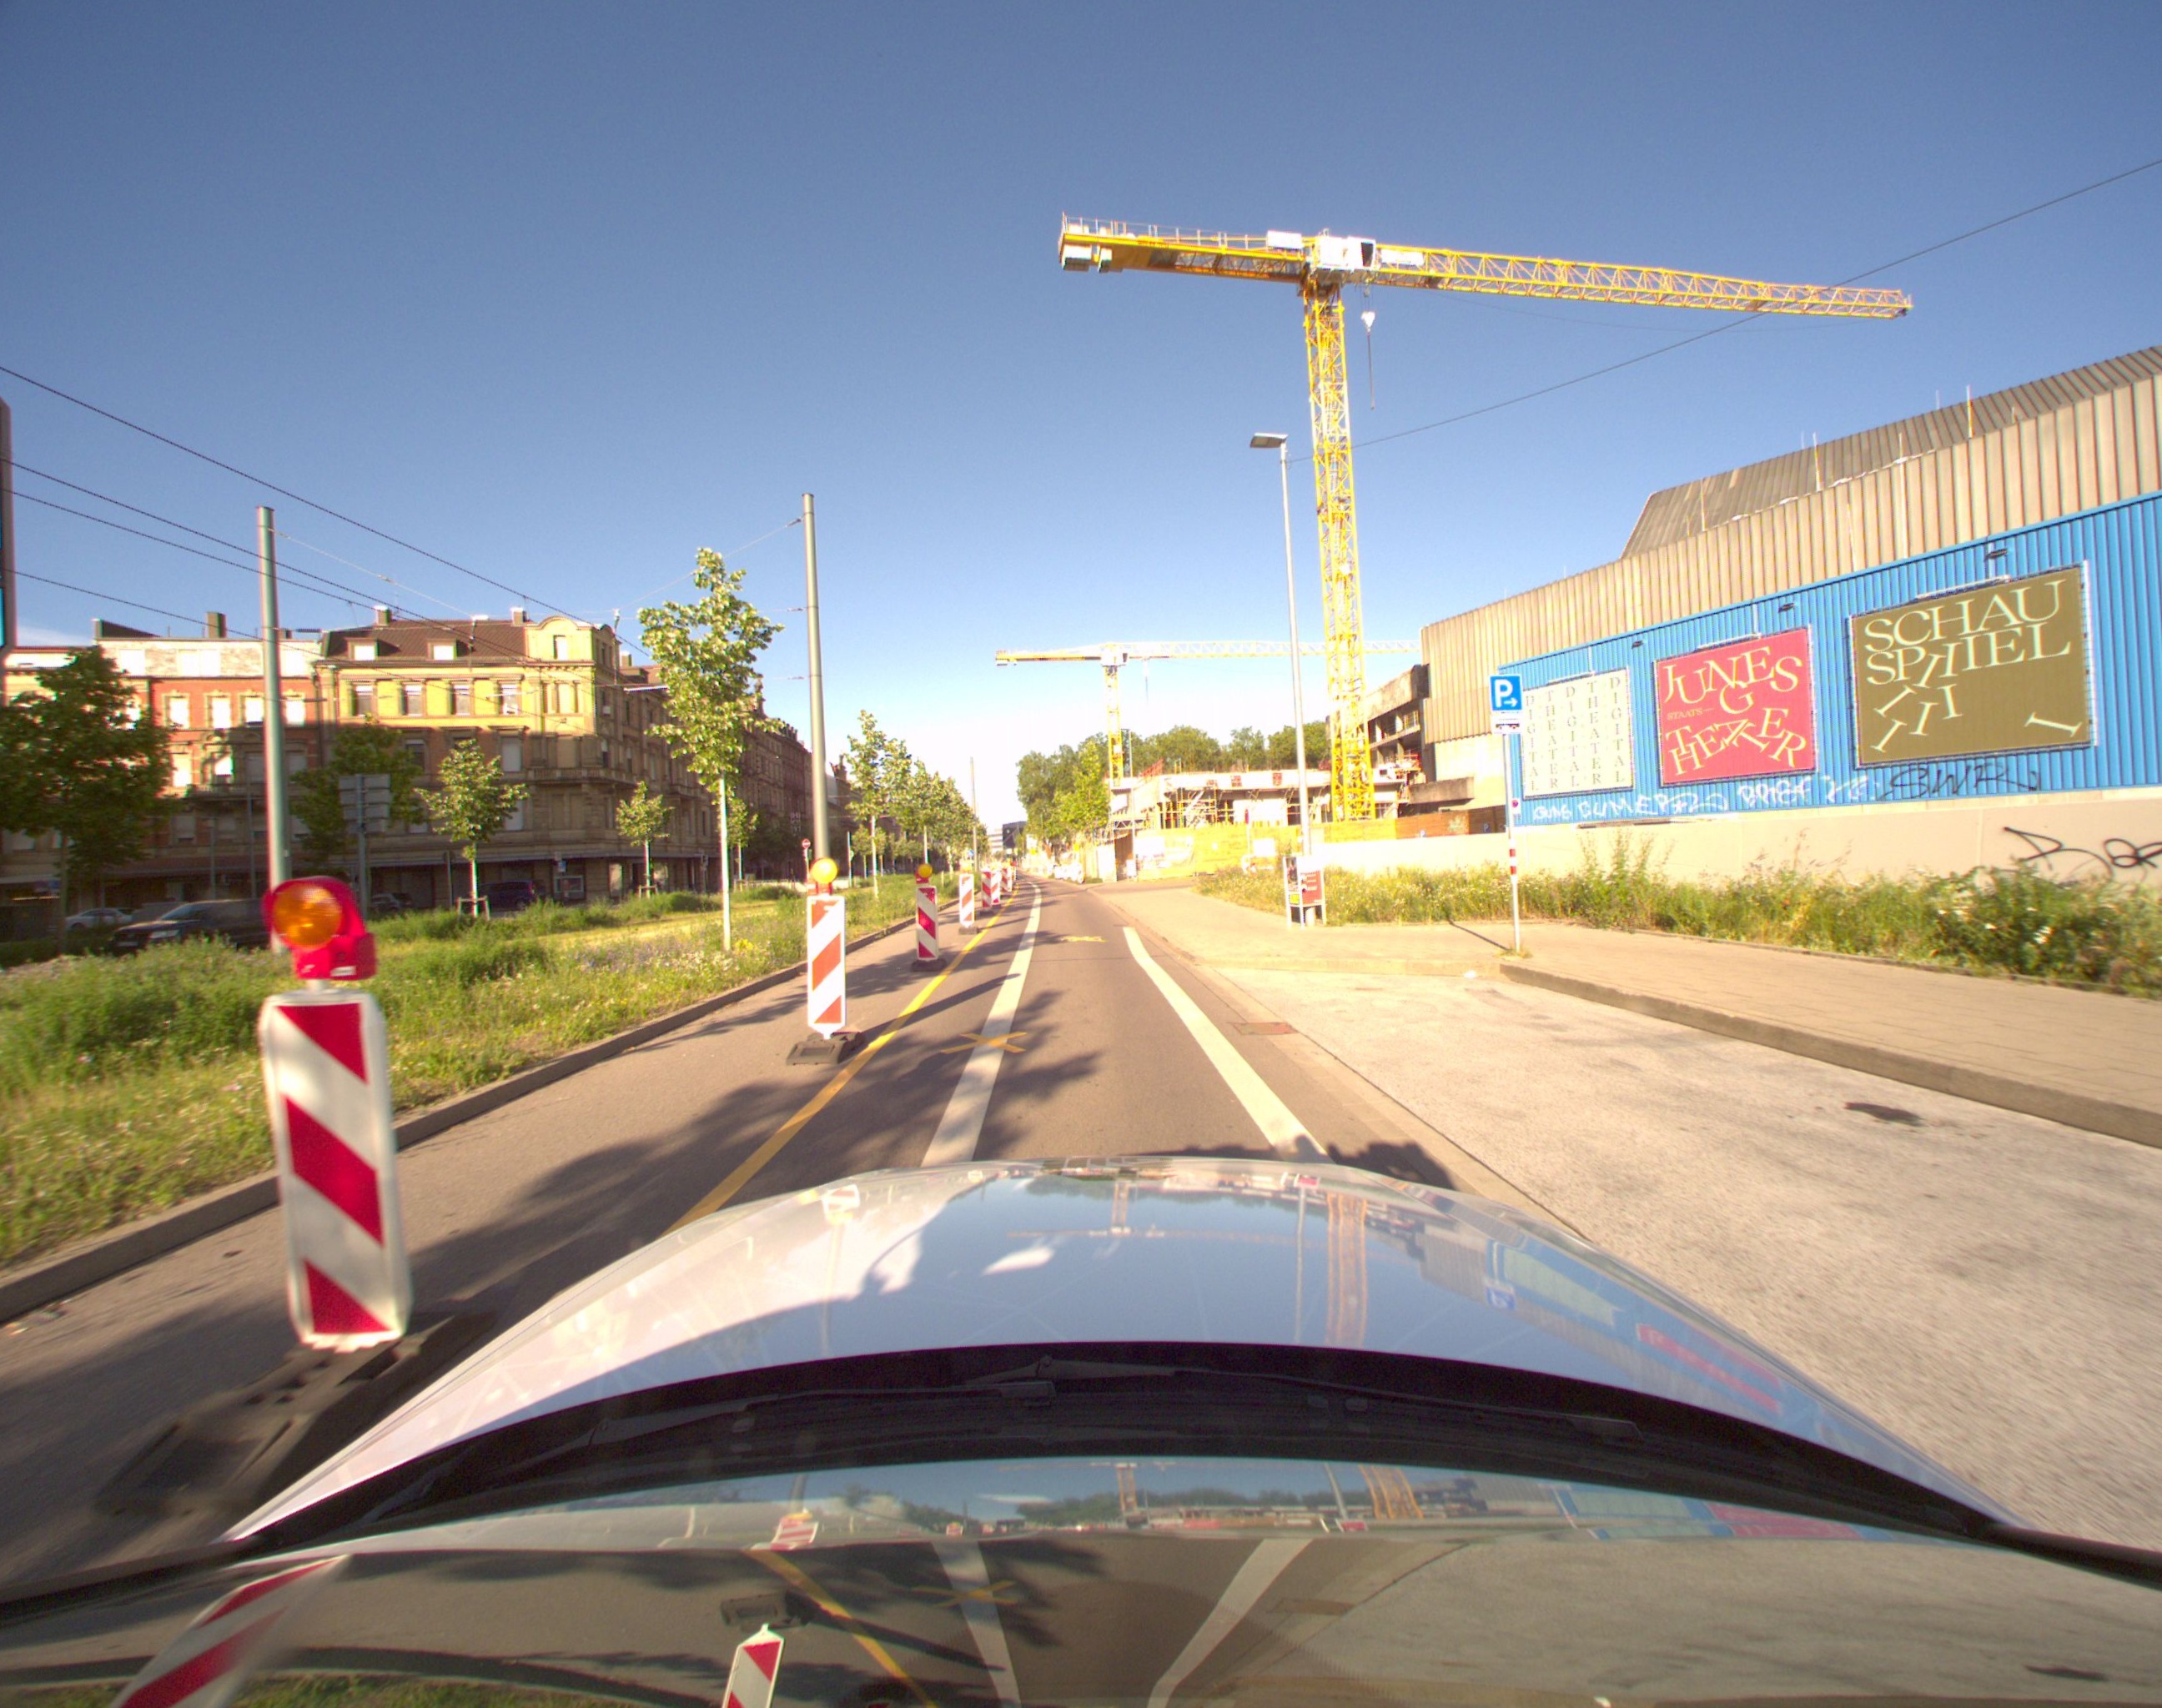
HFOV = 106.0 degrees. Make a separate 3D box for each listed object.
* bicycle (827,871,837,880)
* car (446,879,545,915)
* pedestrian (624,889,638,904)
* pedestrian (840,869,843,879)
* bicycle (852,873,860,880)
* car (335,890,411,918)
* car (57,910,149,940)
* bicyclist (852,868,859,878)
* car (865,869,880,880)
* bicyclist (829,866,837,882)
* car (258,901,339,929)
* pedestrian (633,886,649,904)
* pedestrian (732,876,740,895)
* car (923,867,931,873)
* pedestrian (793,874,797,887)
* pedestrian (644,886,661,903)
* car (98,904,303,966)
[{"bbox_3d":[-27.044,2.339,88.445,0.694,0.978,1.823,-2,-1,-5],"label":"bicycle"},{"bbox_3d":[-36.165,2.642,50.450,4.511,1.903,1.891,-3,-1,-11],"label":"car"},{"bbox_3d":[-33.325,3.147,60.309,0.689,1.059,0.734,-2,-1,-5],"label":"pedestrian"},{"bbox_3d":[-36.691,2.999,124.786,0.404,1.532,0.434,0,-1,-6],"label":"pedestrian"},{"bbox_3d":[-28.632,2.892,103.747,0.636,0.858,2.027,-2,-1,-5],"label":"bicycle"},{"bbox_3d":[-42.739,3.017,49.209,3.145,1.468,1.379,-3,-1,-11],"label":"car"},{"bbox_3d":[-56.024,4.075,46.701,3.054,1.409,1.480,-3,-1,-11],"label":"car"},{"bbox_3d":[-28.628,2.429,103.473,0.636,1.239,0.737,-2,-1,-5],"label":"bicyclist"},{"bbox_3d":[-33.170,3.250,129.478,1.564,1.562,4.704,-3,0,-6],"label":"car"},{"bbox_3d":[-27.127,2.206,89.062,0.694,1.657,0.880,-2,-1,-5],"label":"bicyclist"},{"bbox_3d":[-46.712,3.626,48.673,3.054,1.409,1.574,-3,-1,-11],"label":"car"},{"bbox_3d":[-32.312,2.997,59.843,0.689,1.246,0.927,-2,-1,-5],"label":"pedestrian"},{"bbox_3d":[-32.503,2.963,76.724,0.507,1.765,0.405,0,-1,-7],"label":"pedestrian"},{"bbox_3d":[-35.553,3.665,188.095,1.592,1.483,3.617,-1,-1,-5],"label":"car"},{"bbox_3d":[-34.950,3.209,99.617,0.403,1.585,0.425,0,-1,-7],"label":"pedestrian"},{"bbox_3d":[-32.424,3.055,61.573,0.790,1.208,0.927,-2,-1,-5],"label":"pedestrian"},{"bbox_3d":[-26.132,2.348,24.389,1.722,1.461,3.904,0,0,4],"label":"car"}]
